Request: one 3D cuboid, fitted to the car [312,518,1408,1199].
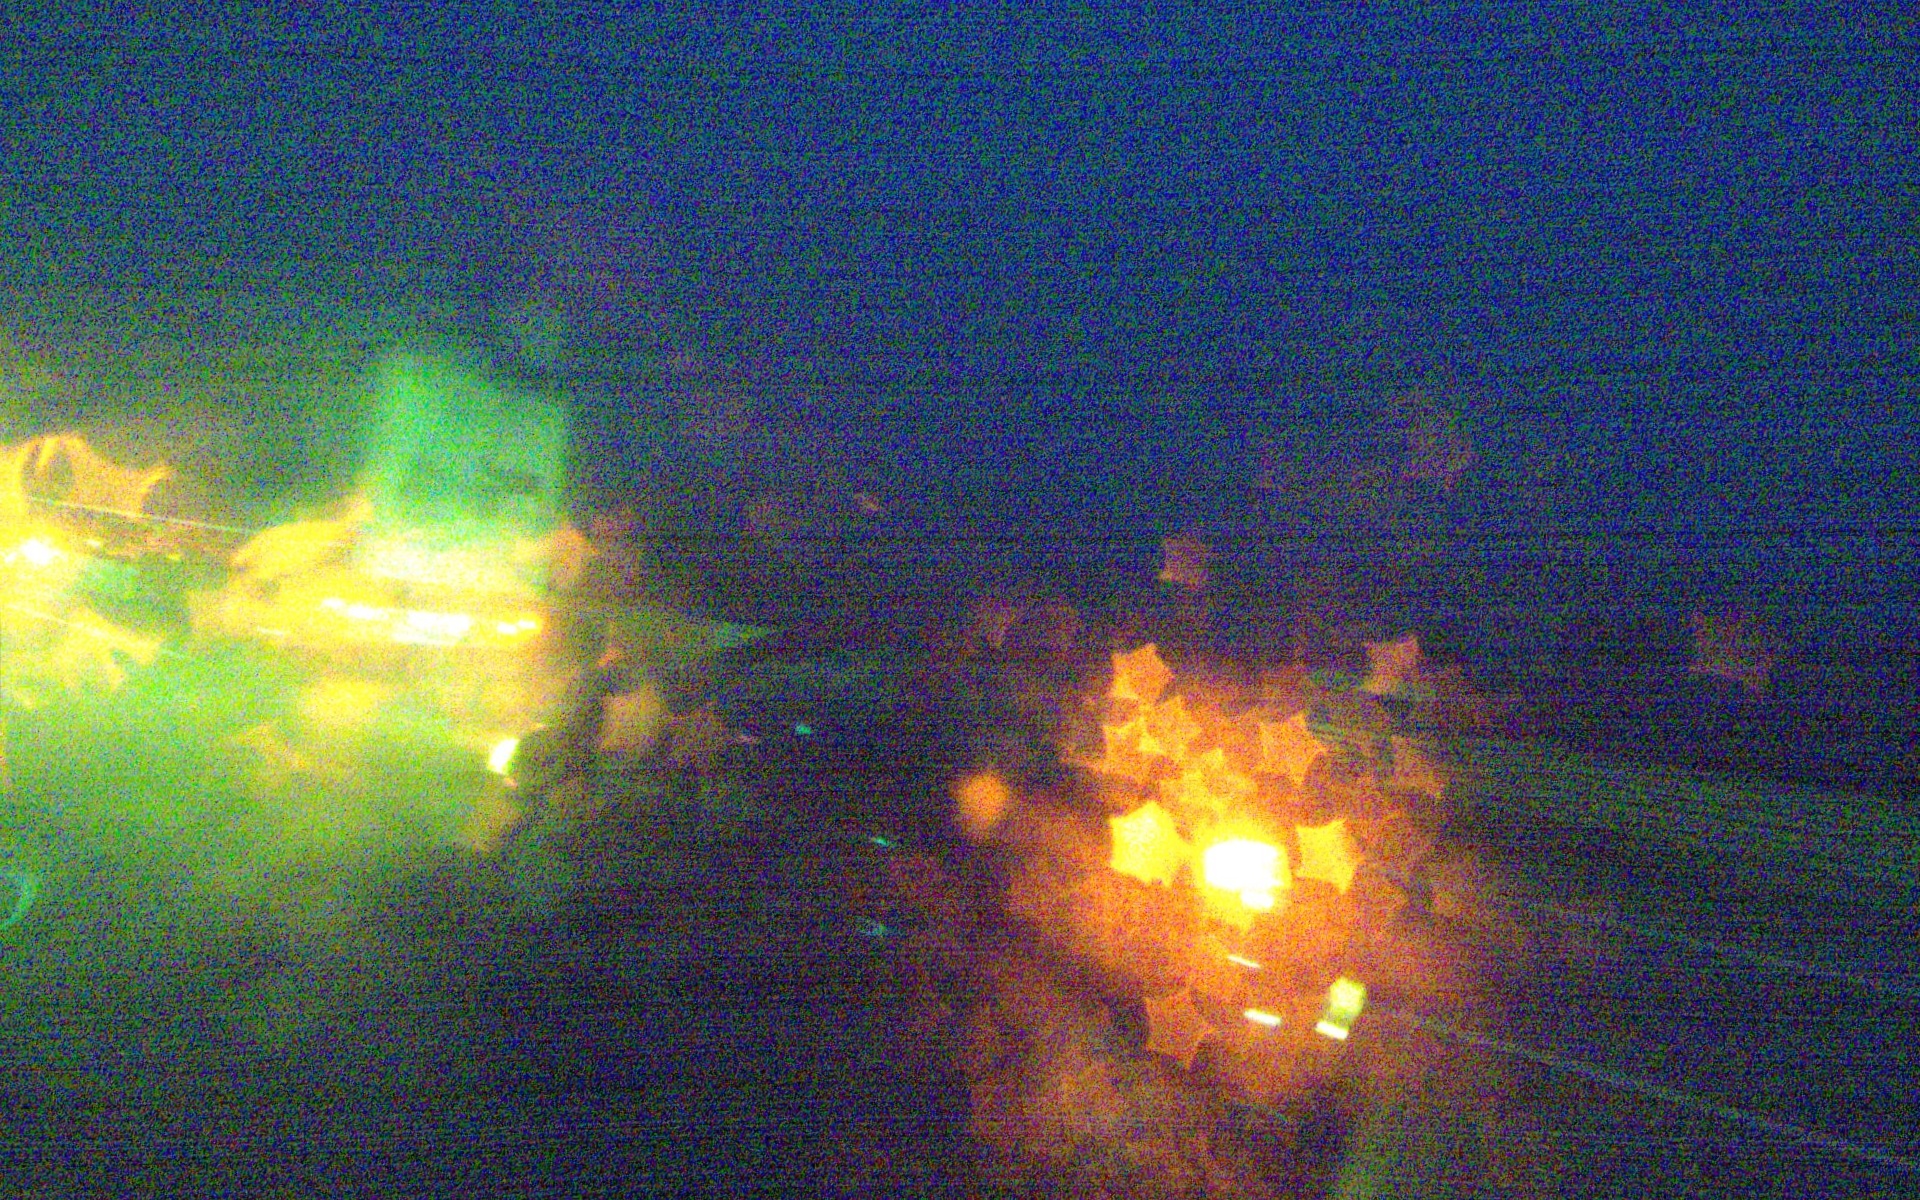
[{"bbox_3d":[-0.649,0.681,4.340,4.419,1.594,1.743,6,-1,31],"label":"car"}]

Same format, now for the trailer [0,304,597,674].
[{"bbox_3d":[-11.934,-1.856,16.266,14.247,4.161,2.905,7,1,32],"label":"trailer"}]

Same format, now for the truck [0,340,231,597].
[{"bbox_3d":[-17.494,-2.502,19.722,5.930,4.161,2.906,7,1,32],"label":"truck"}]
